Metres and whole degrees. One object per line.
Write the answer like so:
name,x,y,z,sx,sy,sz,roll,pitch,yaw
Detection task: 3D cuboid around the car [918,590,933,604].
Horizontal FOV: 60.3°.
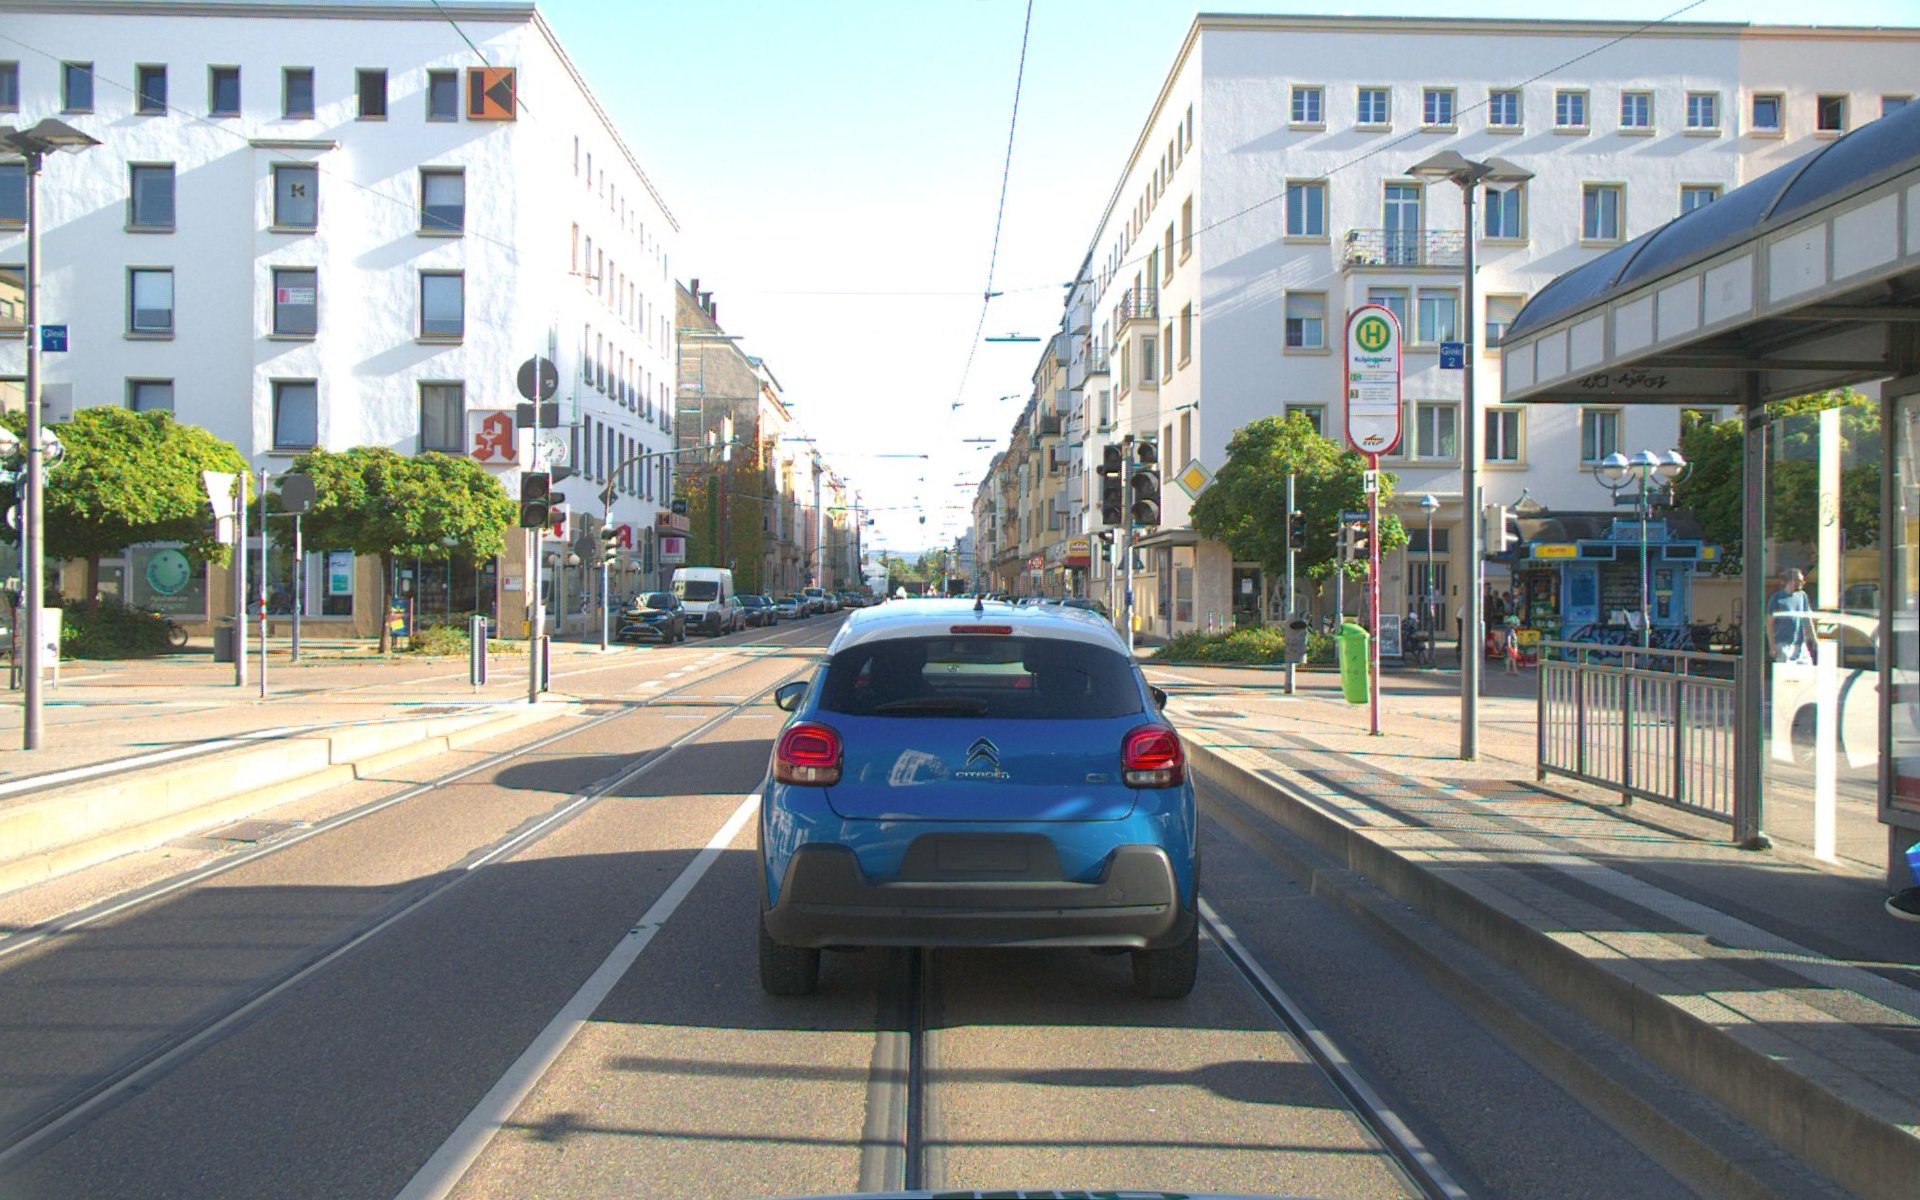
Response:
car,-4.722,-0.411,226.552,1.953,1.803,3.999,0,0,-1

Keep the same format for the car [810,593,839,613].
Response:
car,-11.187,0.229,136.996,1.914,1.579,3.939,1,0,1

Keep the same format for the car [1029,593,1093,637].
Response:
car,3.477,0.508,57.506,1.953,1.489,4.000,0,0,0

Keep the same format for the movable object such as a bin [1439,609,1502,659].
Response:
movable object such as a bin,12.471,0.821,40.423,1.174,1.173,1.217,0,0,0

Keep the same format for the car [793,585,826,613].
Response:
car,-11.493,-0.045,126.532,1.965,2.049,4.690,1,0,1

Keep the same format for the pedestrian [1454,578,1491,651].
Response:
pedestrian,13.211,0.365,42.646,0.768,1.871,0.678,0,0,2

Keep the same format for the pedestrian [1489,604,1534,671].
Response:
pedestrian,12.249,0.835,36.770,0.715,1.434,0.755,0,3,-1

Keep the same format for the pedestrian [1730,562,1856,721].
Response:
pedestrian,10.301,0.510,20.494,0.961,1.910,1.128,0,-1,-3

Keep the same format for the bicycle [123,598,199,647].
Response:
bicycle,-20.626,0.566,42.769,0.605,1.211,2.621,0,0,2

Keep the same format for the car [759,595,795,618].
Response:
car,-11.364,0.409,102.887,1.953,1.348,3.921,1,0,-2

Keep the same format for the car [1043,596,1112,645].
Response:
car,3.687,0.628,52.452,1.870,1.489,4.000,0,0,0

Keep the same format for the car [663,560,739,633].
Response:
car,-9.736,-0.122,62.616,2.043,2.586,6.203,1,0,-2

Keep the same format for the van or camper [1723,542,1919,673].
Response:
van or camper,20.980,0.134,36.737,6.976,2.795,2.371,0,1,0

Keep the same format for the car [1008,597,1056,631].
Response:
car,3.143,0.596,72.922,1.953,1.489,4.000,0,0,0

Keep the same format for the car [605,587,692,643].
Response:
car,-9.791,0.471,52.252,1.953,1.596,4.401,3,0,-2

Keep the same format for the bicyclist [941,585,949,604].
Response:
bicyclist,-1.640,-0.603,178.694,0.793,2.049,0.922,1,-1,-3

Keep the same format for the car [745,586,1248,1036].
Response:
car,0.095,0.719,7.568,1.693,1.508,3.826,1,0,-1

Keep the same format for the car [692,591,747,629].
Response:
car,-10.047,0.411,69.326,1.850,1.522,3.560,1,0,-2

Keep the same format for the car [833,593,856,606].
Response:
car,-10.725,-0.014,153.802,1.953,1.176,4.000,0,0,0

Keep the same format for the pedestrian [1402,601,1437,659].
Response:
pedestrian,10.888,0.705,39.201,0.725,1.339,0.628,0,0,22

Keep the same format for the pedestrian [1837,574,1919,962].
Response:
pedestrian,3.592,0.563,5.339,0.978,1.246,0.923,3,-1,-1

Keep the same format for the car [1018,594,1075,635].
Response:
car,3.251,0.528,62.930,1.953,1.527,4.000,0,0,0

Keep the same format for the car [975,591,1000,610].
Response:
car,2.181,0.006,133.203,1.953,1.489,4.000,0,0,0

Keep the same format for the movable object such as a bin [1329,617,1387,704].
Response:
movable object such as a bin,3.737,0.563,15.530,0.439,0.800,0.489,0,0,2

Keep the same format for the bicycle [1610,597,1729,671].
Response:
bicycle,15.890,0.765,37.083,2.336,1.558,0.726,2,0,-2

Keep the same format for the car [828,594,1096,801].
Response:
car,-0.023,0.712,14.578,1.944,1.490,4.814,1,0,-1

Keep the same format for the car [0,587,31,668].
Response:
car,-22.388,0.573,35.421,3.906,1.736,1.825,0,0,-2

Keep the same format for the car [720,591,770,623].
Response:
car,-10.102,0.349,77.976,1.953,1.422,4.155,1,0,-2

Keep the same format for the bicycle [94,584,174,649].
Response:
bicycle,-21.335,0.406,42.782,0.605,1.635,2.621,0,0,3

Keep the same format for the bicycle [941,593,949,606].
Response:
bicycle,-1.636,-0.021,178.724,0.901,1.413,3.131,0,0,0

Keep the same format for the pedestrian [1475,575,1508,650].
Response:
pedestrian,13.393,0.308,41.663,0.639,1.871,0.659,0,0,2

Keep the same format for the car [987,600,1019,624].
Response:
car,2.756,0.765,106.389,1.953,1.489,4.000,0,0,0

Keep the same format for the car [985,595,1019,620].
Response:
car,2.582,0.433,102.012,1.953,1.489,4.504,0,0,0
